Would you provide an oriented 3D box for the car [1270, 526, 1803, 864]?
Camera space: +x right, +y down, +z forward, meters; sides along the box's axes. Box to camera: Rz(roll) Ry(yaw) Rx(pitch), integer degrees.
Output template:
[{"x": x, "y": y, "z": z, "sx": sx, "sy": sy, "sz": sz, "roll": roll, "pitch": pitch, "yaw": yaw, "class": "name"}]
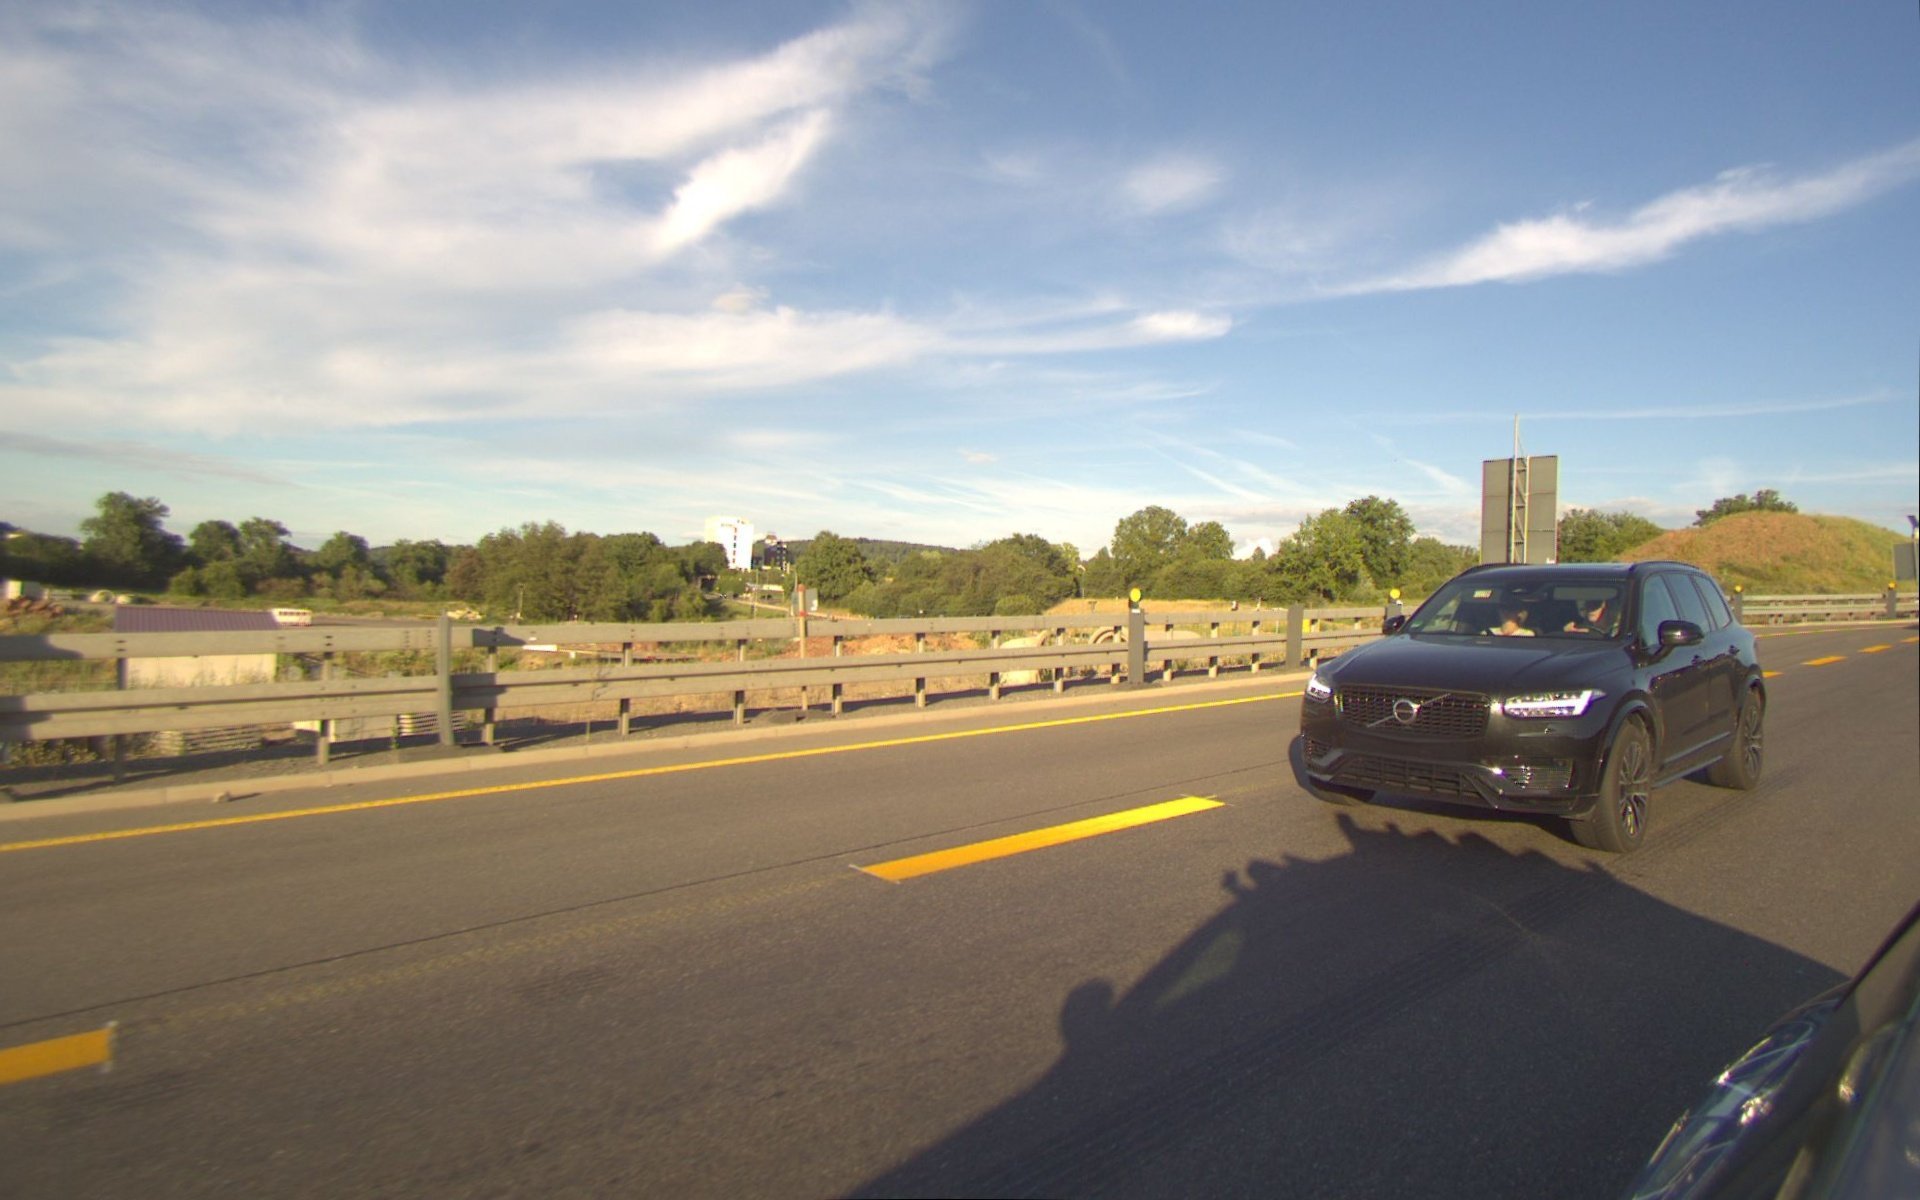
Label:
[{"x": 4.478, "y": 0.474, "z": 7.482, "sx": 4.801, "sy": 1.735, "sz": 1.901, "roll": 0, "pitch": 0, "yaw": -40, "class": "car"}]
